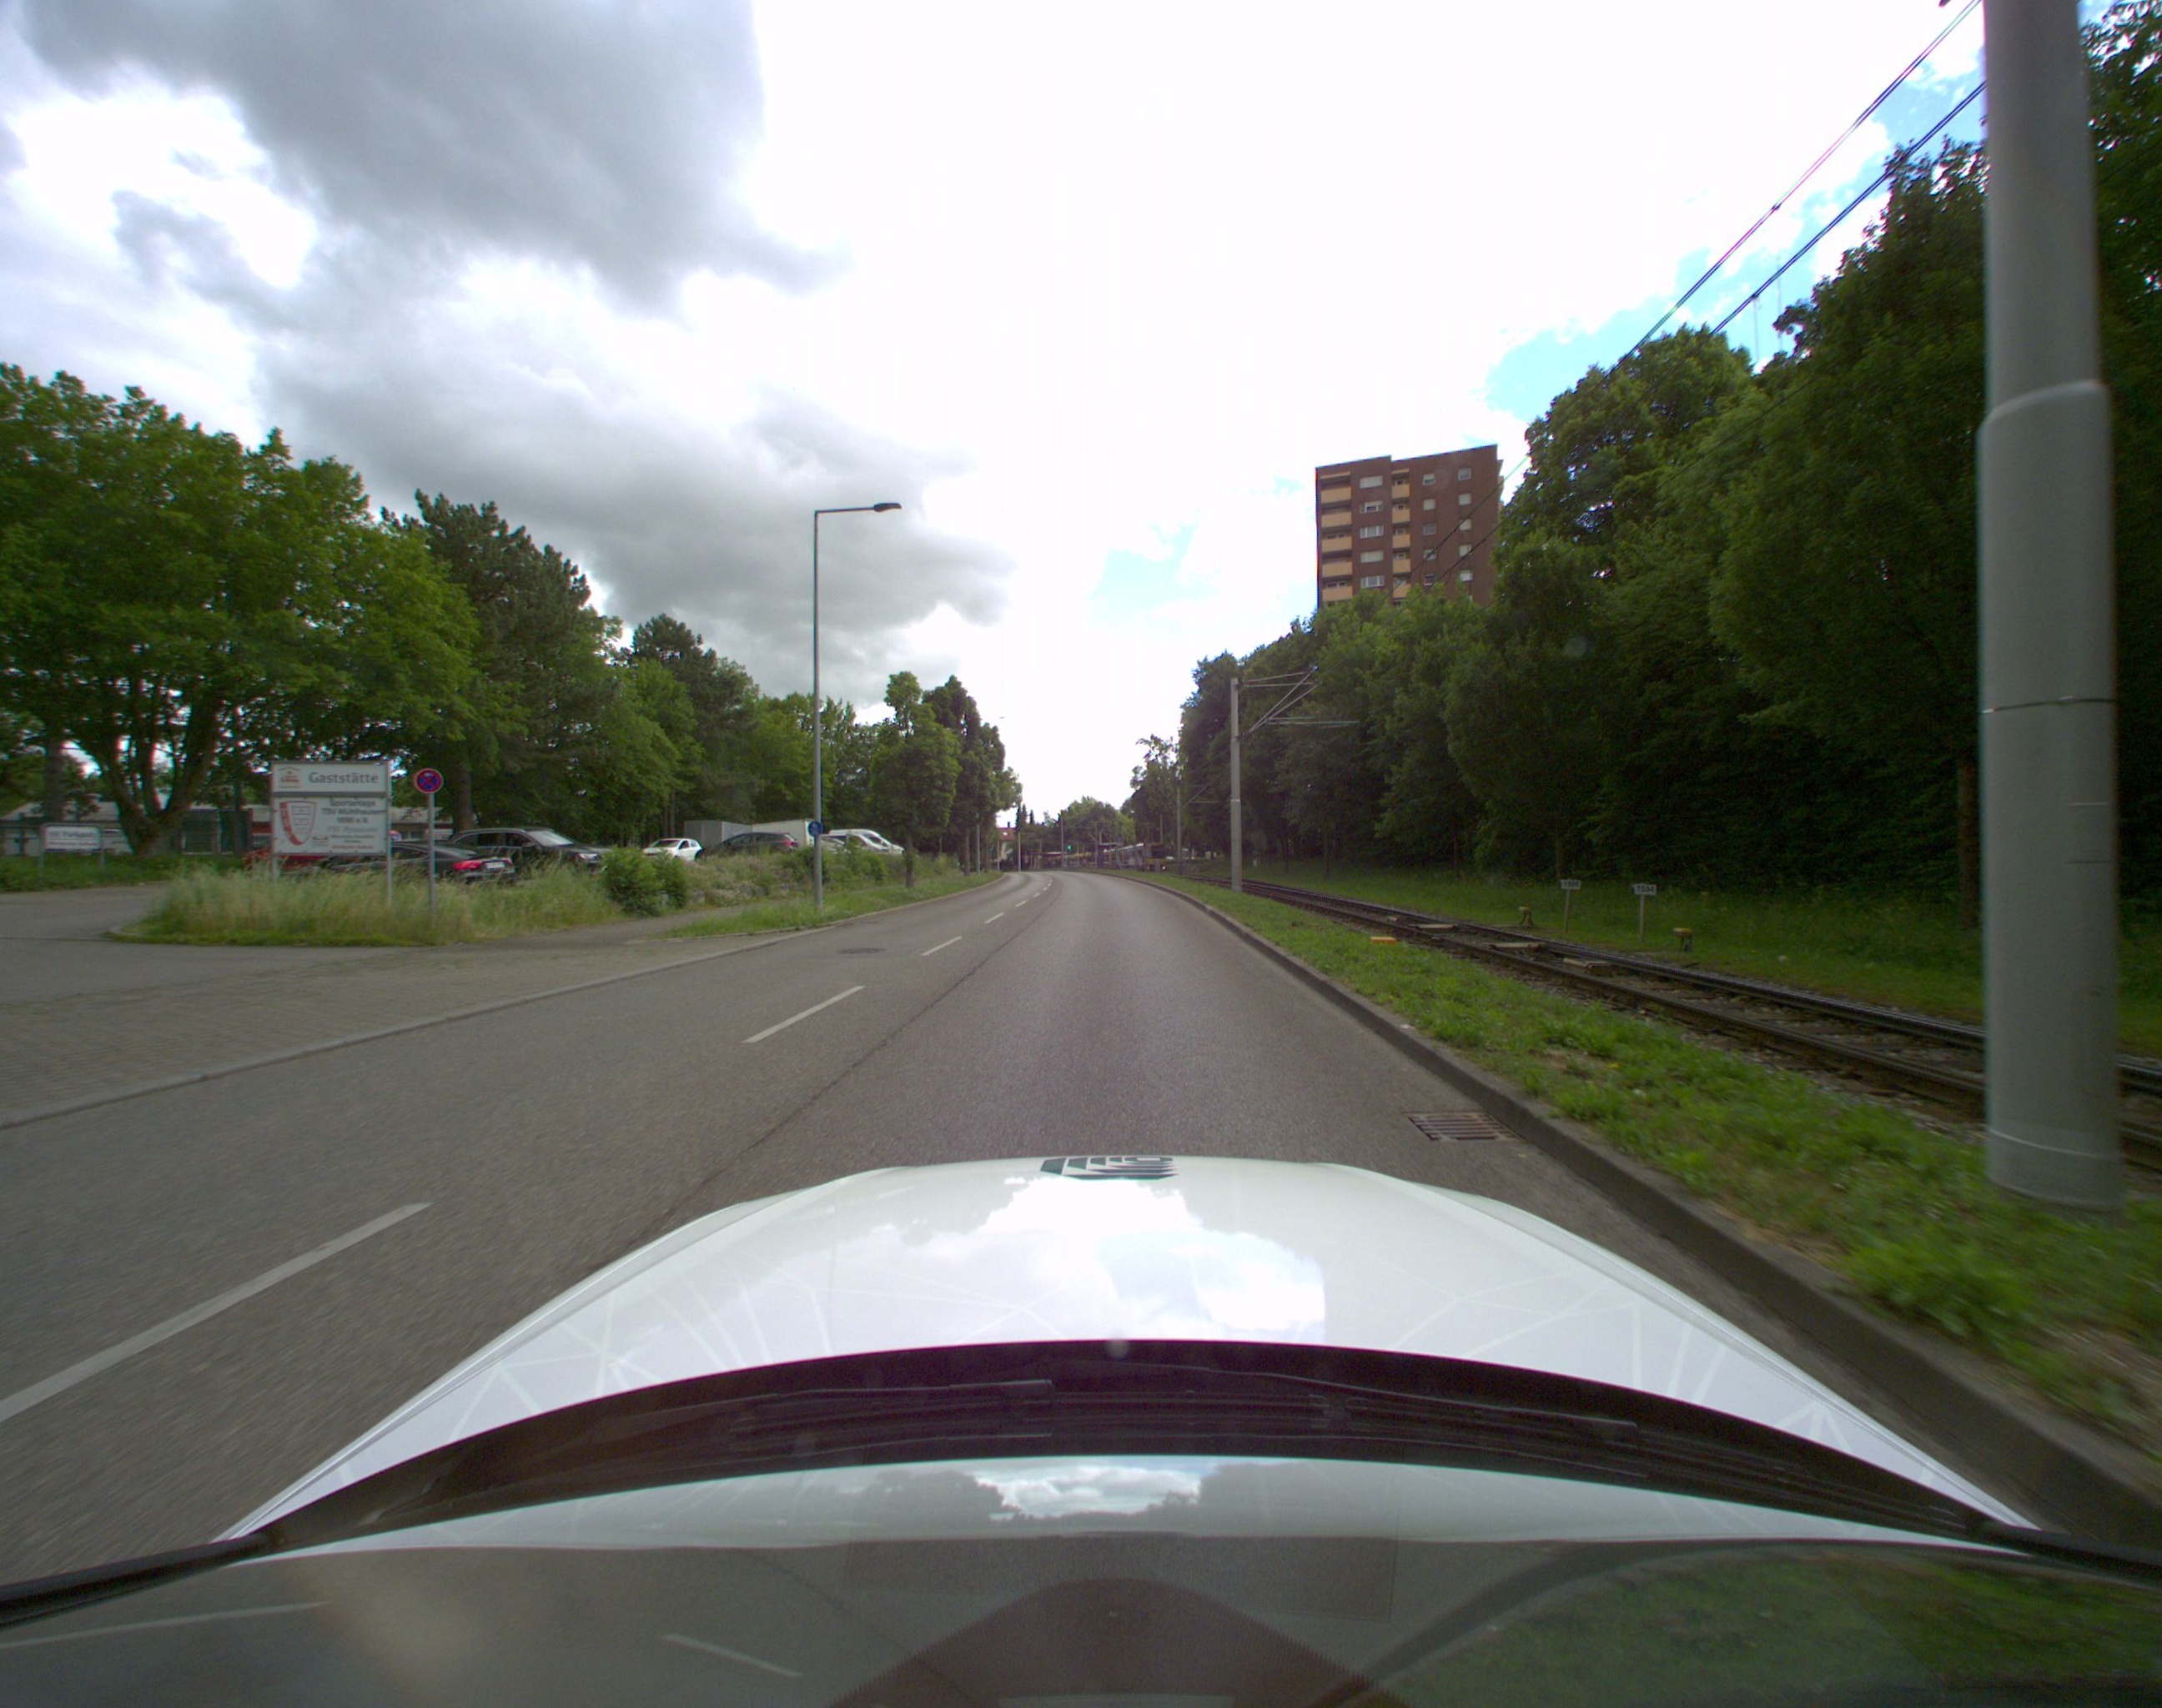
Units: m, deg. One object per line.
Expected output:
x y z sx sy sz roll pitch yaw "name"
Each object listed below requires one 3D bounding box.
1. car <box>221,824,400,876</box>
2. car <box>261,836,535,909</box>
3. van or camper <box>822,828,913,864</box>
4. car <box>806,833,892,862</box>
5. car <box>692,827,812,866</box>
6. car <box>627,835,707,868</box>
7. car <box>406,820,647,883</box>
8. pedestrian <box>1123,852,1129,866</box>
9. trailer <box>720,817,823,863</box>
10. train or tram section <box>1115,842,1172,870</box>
-25.903 -0.139 27.524 3.981 1.662 1.996 0 0 -6 "car"
-14.119 0.359 17.055 3.945 1.397 1.998 0 0 -3 "car"
-13.625 -0.511 52.145 5.318 2.203 1.999 0 0 -2 "van or camper"
-14.081 -0.392 49.603 4.618 1.656 2.003 0 0 6 "car"
-13.918 -0.306 34.667 4.304 1.448 1.833 -2 0 -5 "car"
-20.376 -0.127 40.273 1.878 1.585 3.668 0 0 4 "car"
-14.802 -0.066 21.987 4.913 1.585 2.205 0 0 -2 "car"
4.895 0.572 88.110 0.566 1.464 0.594 0 0 -5 "pedestrian"
-14.270 -0.635 37.708 3.972 2.013 1.909 0 0 2 "trailer"
8.012 0.243 112.197 3.001 3.311 34.664 0 0 -4 "train or tram section"
